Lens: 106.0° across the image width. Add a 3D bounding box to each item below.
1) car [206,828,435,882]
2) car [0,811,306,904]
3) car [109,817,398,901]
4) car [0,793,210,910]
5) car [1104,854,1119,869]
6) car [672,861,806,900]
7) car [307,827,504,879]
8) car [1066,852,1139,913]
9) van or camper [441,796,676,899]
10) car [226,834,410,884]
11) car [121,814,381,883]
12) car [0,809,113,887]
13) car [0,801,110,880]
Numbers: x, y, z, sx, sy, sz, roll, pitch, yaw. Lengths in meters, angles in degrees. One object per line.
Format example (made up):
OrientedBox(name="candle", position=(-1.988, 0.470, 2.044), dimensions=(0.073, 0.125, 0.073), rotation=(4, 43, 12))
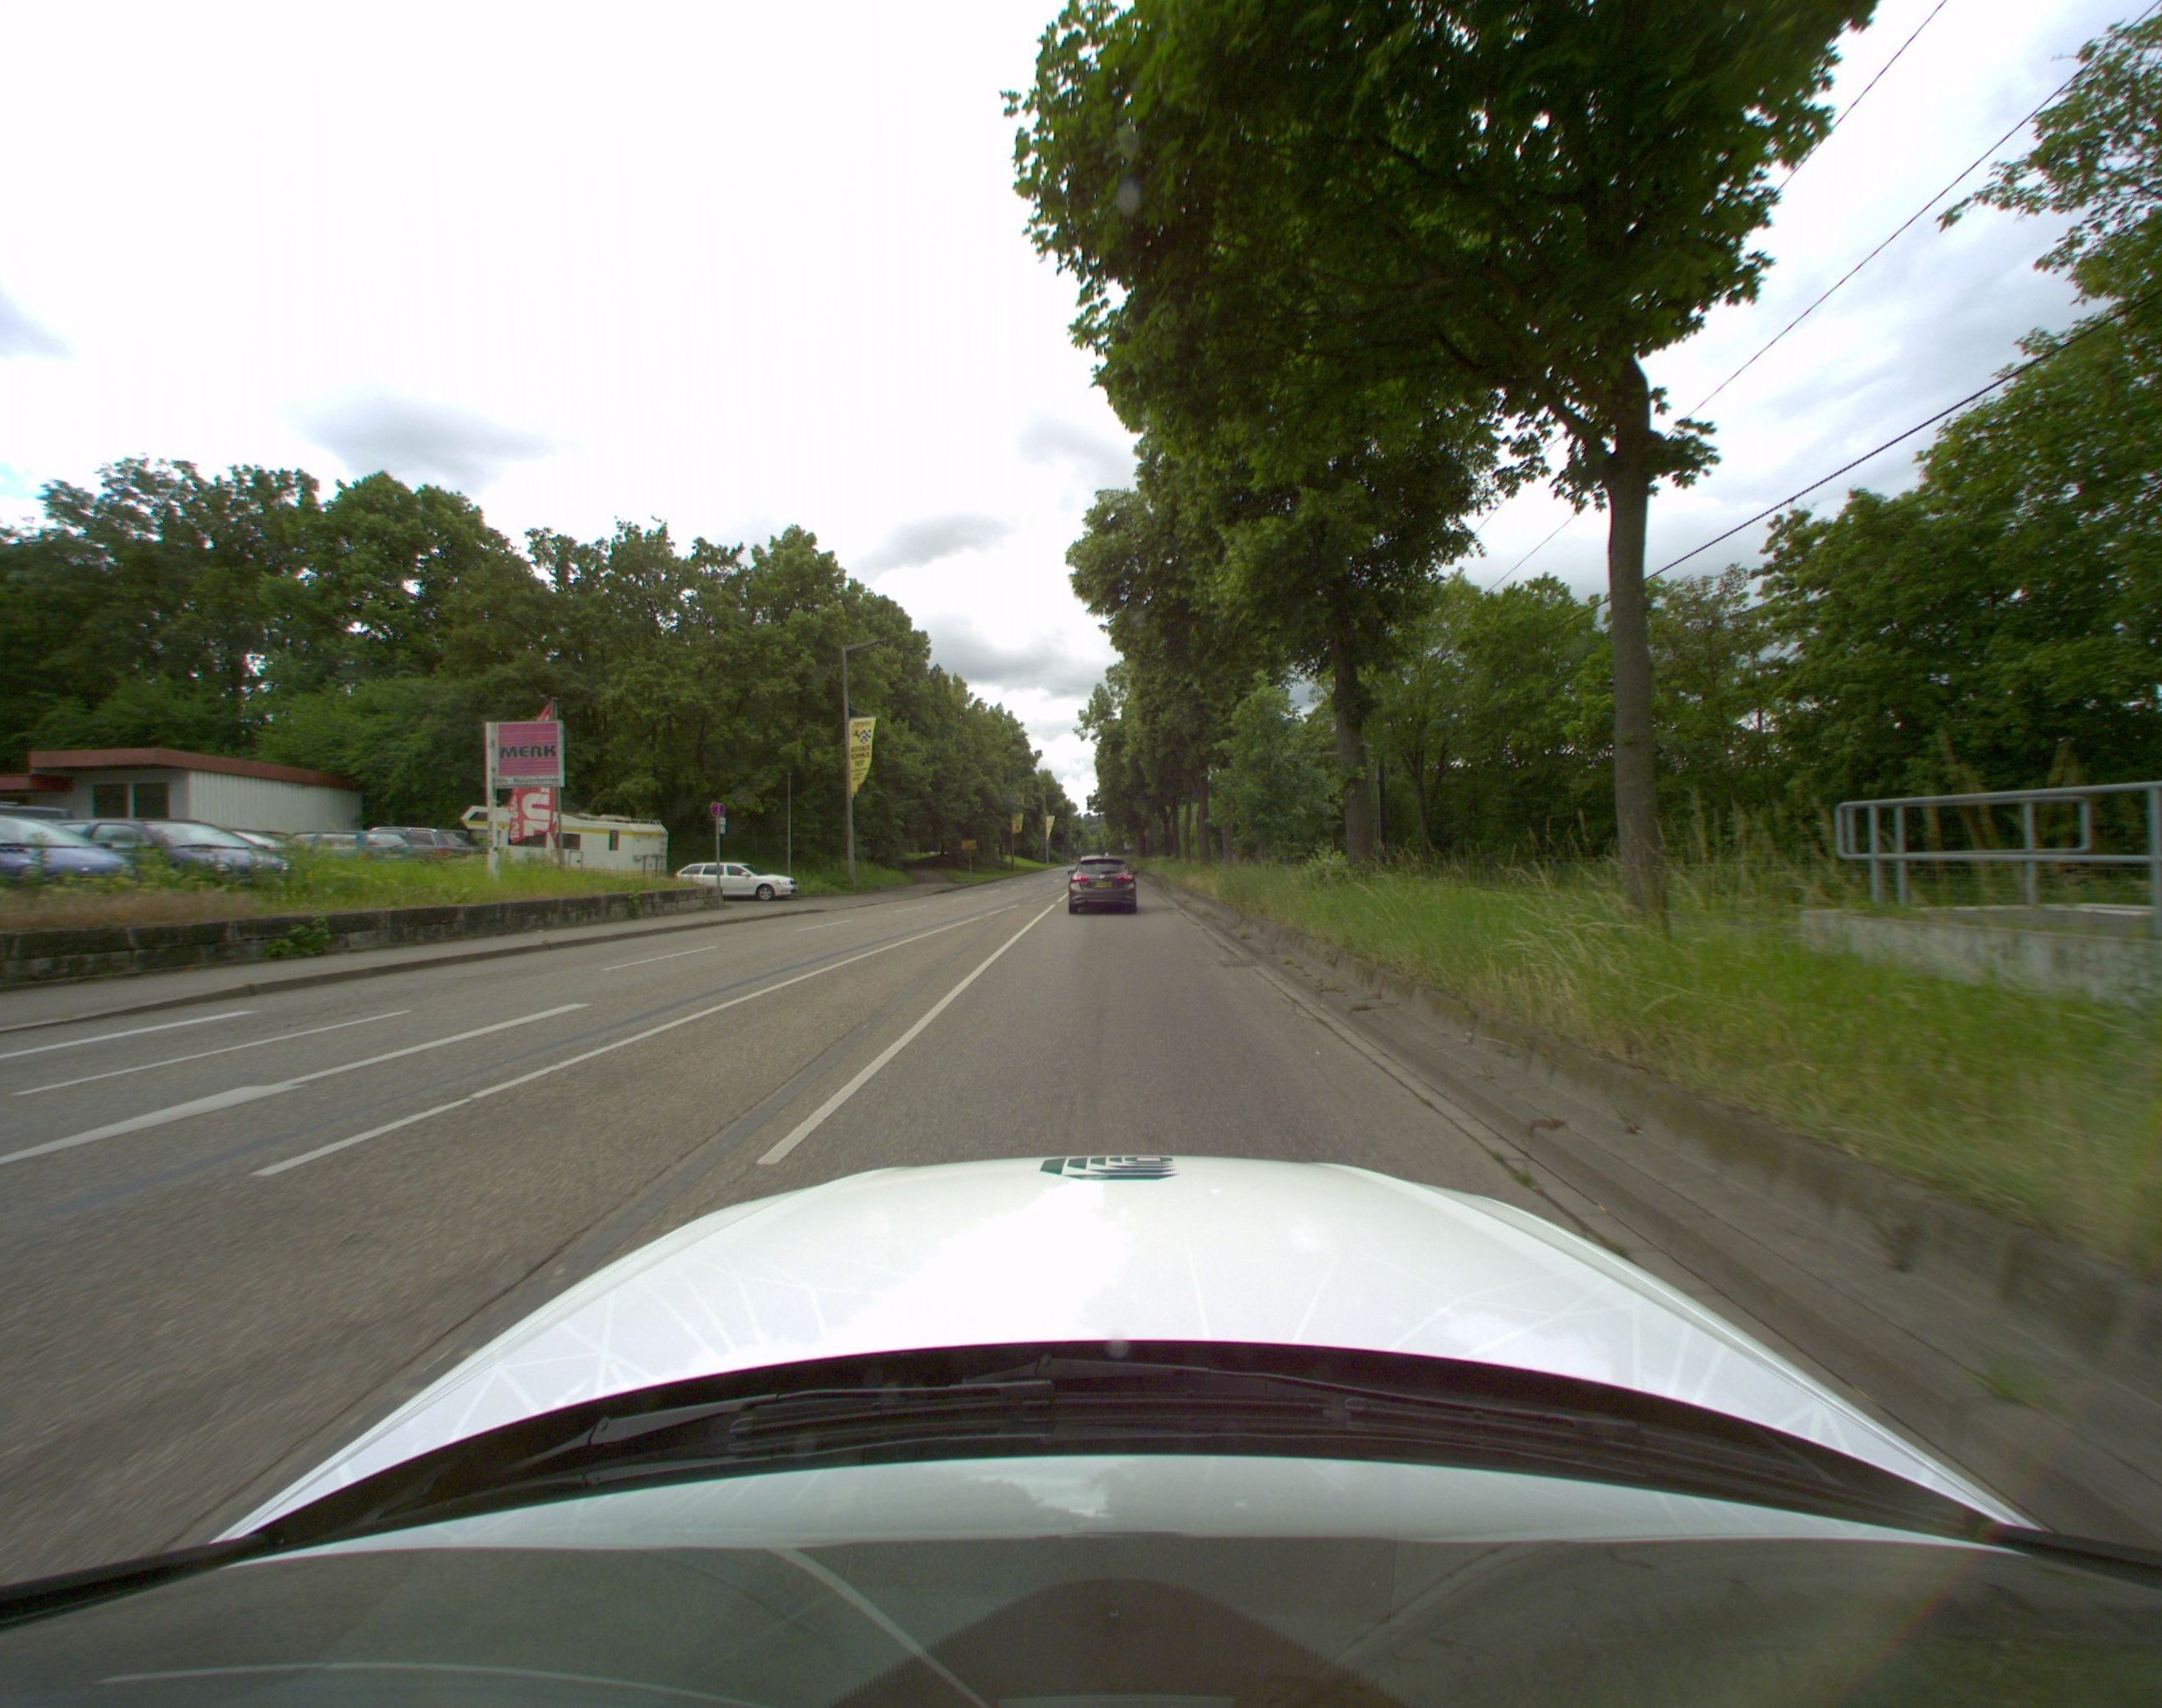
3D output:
OrientedBox(name="car", position=(-18.626, 0.041, 20.081), dimensions=(3.914, 1.268, 1.887), rotation=(0, -1, 3))
OrientedBox(name="car", position=(-15.382, 0.061, 13.413), dimensions=(3.966, 1.411, 1.536), rotation=(0, -1, 6))
OrientedBox(name="car", position=(-15.510, 0.101, 15.375), dimensions=(3.966, 1.492, 1.650), rotation=(0, -1, 6))
OrientedBox(name="car", position=(-15.218, -0.018, 11.540), dimensions=(3.966, 1.497, 1.862), rotation=(0, -1, 6))
OrientedBox(name="car", position=(3.169, 0.756, 84.332), dimensions=(1.496, 1.529, 3.674), rotation=(0, -1, 4))
OrientedBox(name="car", position=(-13.212, 1.020, 31.669), dimensions=(4.362, 1.441, 1.960), rotation=(0, 0, -1))
OrientedBox(name="car", position=(-18.806, -0.008, 22.795), dimensions=(3.966, 1.370, 2.003), rotation=(0, -1, 6))
OrientedBox(name="car", position=(0.662, 0.735, 22.421), dimensions=(1.829, 1.528, 3.932), rotation=(-1, -1, 4))
OrientedBox(name="van or camper", position=(-20.109, -0.229, 31.643), dimensions=(7.115, 3.371, 2.797), rotation=(4, 0, 1))
OrientedBox(name="car", position=(-27.969, 0.181, 30.156), dimensions=(1.893, 1.689, 4.975), rotation=(0, -1, 4))
OrientedBox(name="car", position=(-17.794, -0.100, 17.587), dimensions=(3.820, 1.378, 1.921), rotation=(0, -1, 6))
OrientedBox(name="car", position=(-19.541, -0.094, 13.449), dimensions=(1.841, 1.342, 4.400), rotation=(-1, 0, 0))
OrientedBox(name="car", position=(-28.978, -0.348, 21.051), dimensions=(1.872, 2.063, 4.753), rotation=(0, -1, 2))
